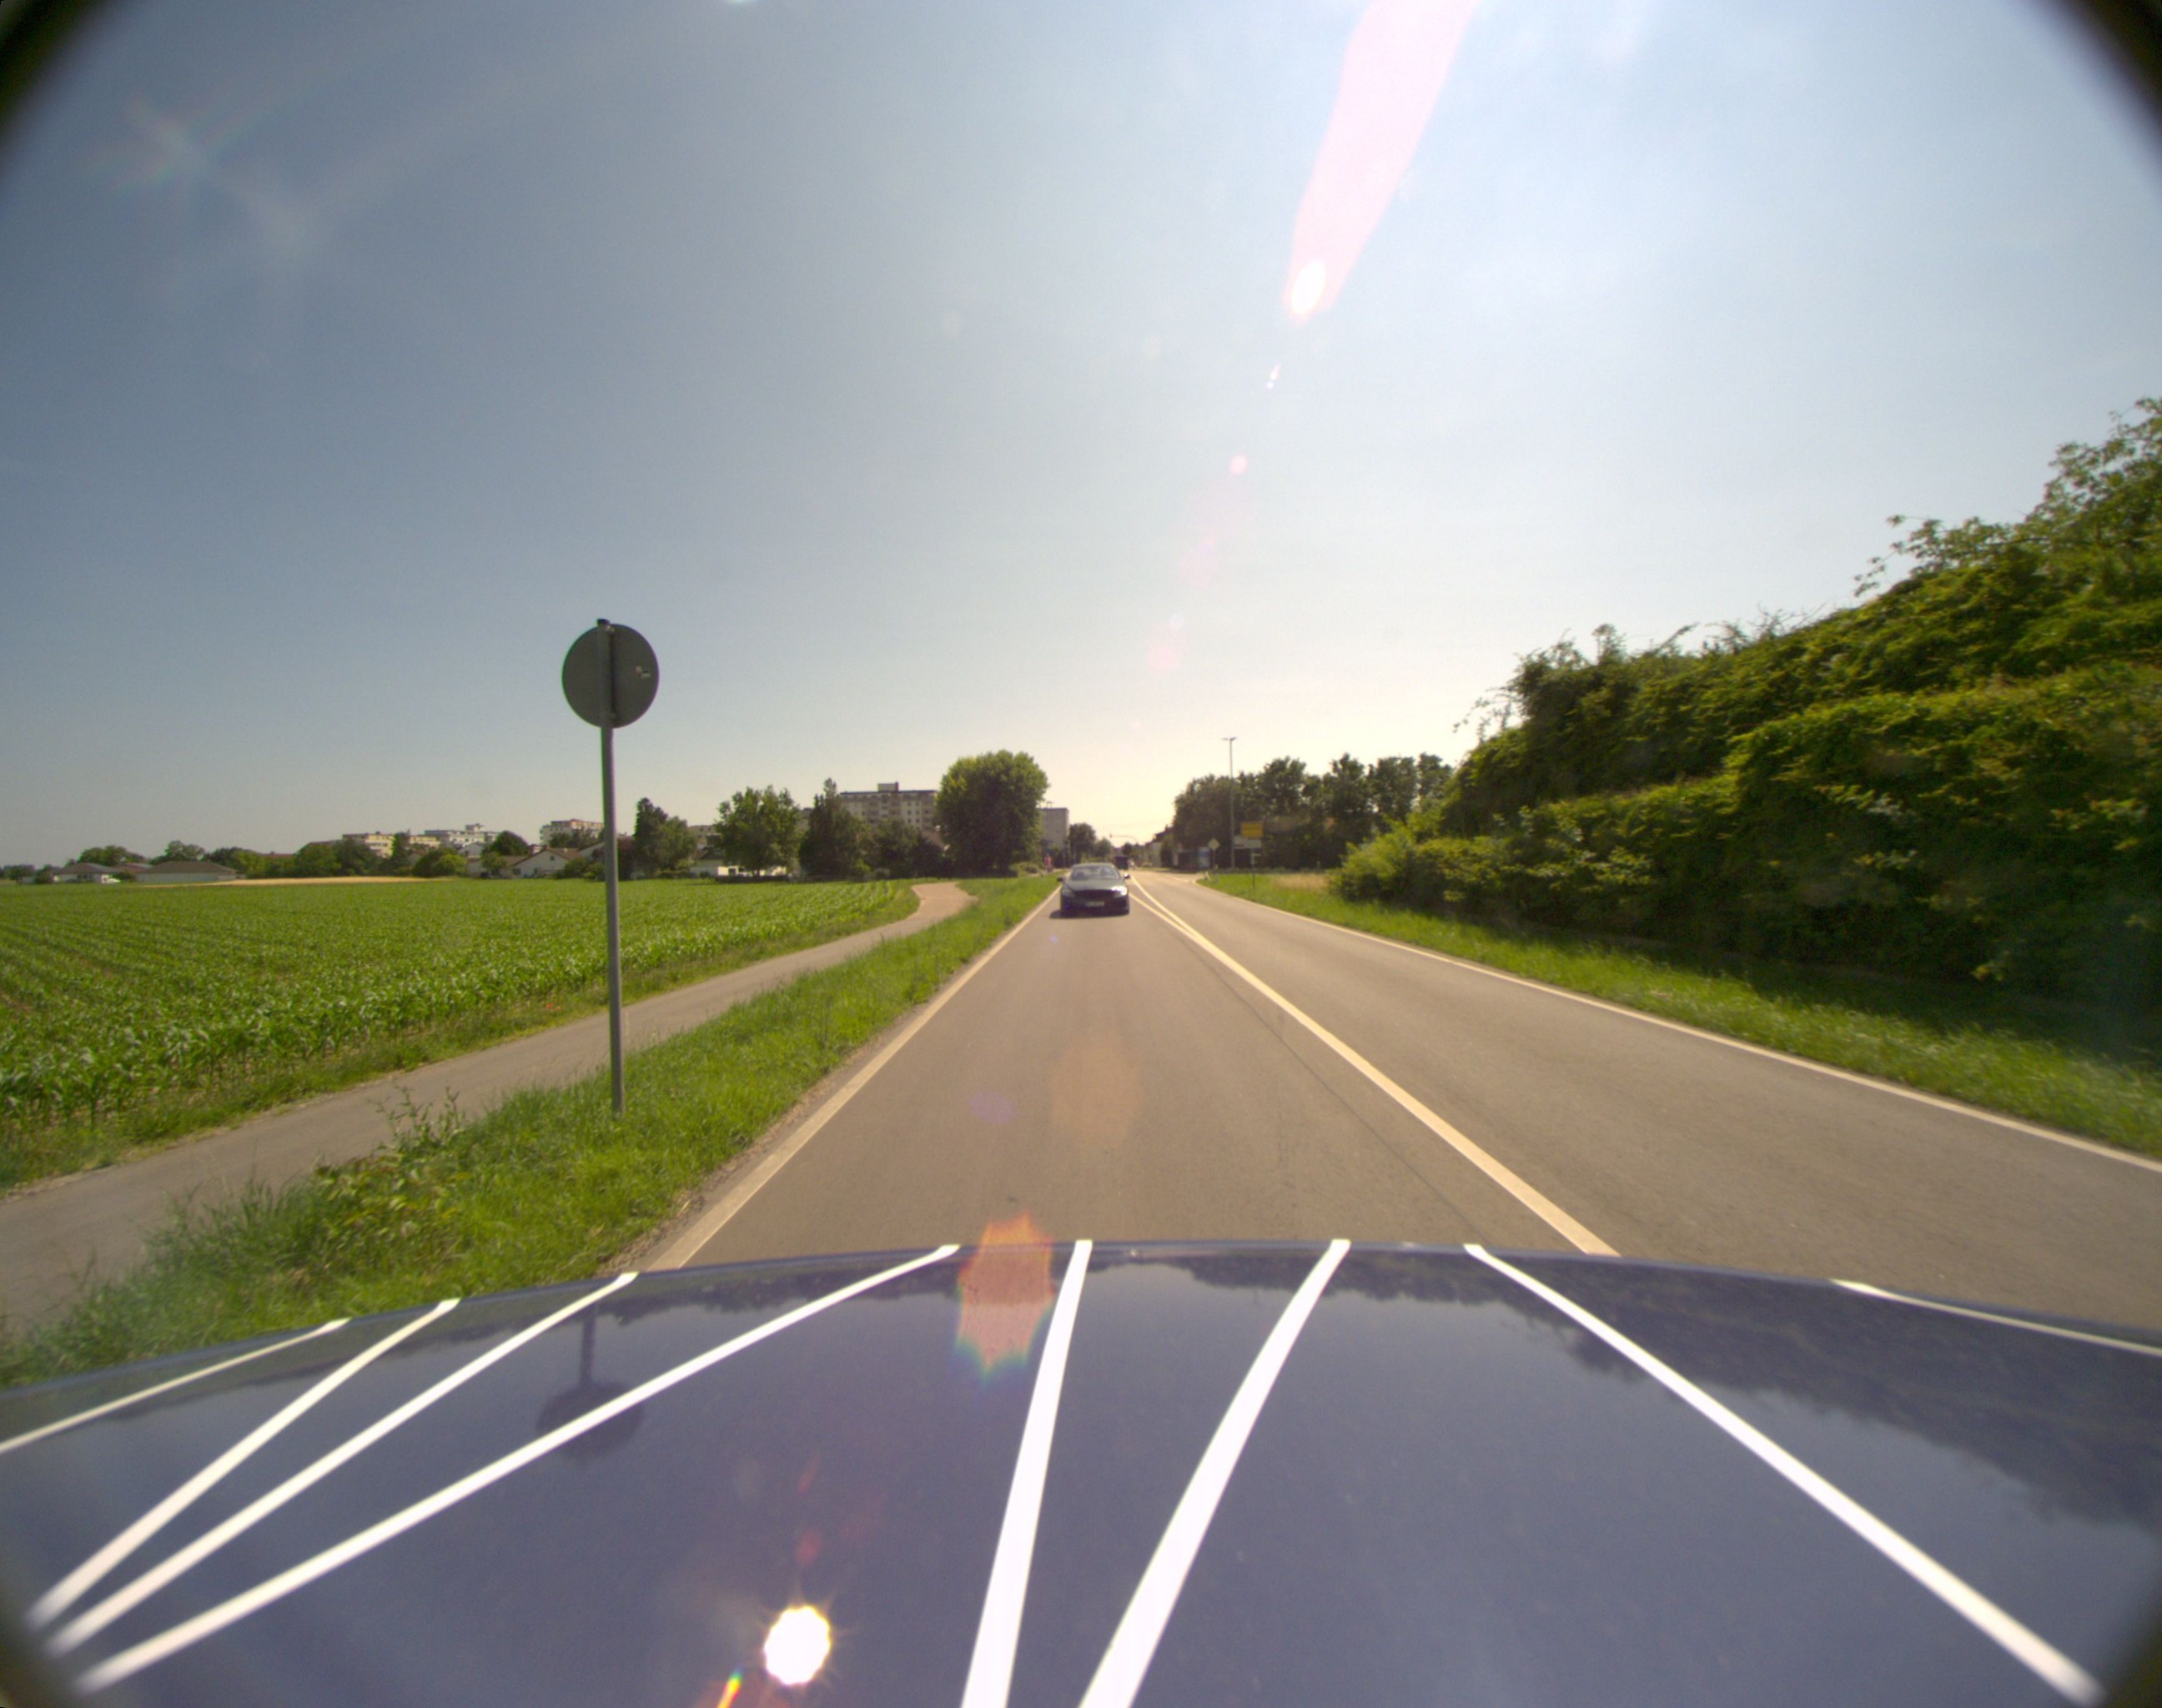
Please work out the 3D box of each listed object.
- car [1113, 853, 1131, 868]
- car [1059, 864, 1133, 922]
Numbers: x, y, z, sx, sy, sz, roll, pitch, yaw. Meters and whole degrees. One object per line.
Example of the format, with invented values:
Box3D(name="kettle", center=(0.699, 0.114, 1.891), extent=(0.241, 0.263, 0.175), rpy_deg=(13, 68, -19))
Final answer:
Box3D(name="car", center=(5.447, 0.894, 101.322), extent=(2.149, 1.939, 5.248), rpy_deg=(0, 0, 1))
Box3D(name="car", center=(0.384, 1.050, 22.348), extent=(1.889, 1.429, 4.838), rpy_deg=(-2, 0, -1))
